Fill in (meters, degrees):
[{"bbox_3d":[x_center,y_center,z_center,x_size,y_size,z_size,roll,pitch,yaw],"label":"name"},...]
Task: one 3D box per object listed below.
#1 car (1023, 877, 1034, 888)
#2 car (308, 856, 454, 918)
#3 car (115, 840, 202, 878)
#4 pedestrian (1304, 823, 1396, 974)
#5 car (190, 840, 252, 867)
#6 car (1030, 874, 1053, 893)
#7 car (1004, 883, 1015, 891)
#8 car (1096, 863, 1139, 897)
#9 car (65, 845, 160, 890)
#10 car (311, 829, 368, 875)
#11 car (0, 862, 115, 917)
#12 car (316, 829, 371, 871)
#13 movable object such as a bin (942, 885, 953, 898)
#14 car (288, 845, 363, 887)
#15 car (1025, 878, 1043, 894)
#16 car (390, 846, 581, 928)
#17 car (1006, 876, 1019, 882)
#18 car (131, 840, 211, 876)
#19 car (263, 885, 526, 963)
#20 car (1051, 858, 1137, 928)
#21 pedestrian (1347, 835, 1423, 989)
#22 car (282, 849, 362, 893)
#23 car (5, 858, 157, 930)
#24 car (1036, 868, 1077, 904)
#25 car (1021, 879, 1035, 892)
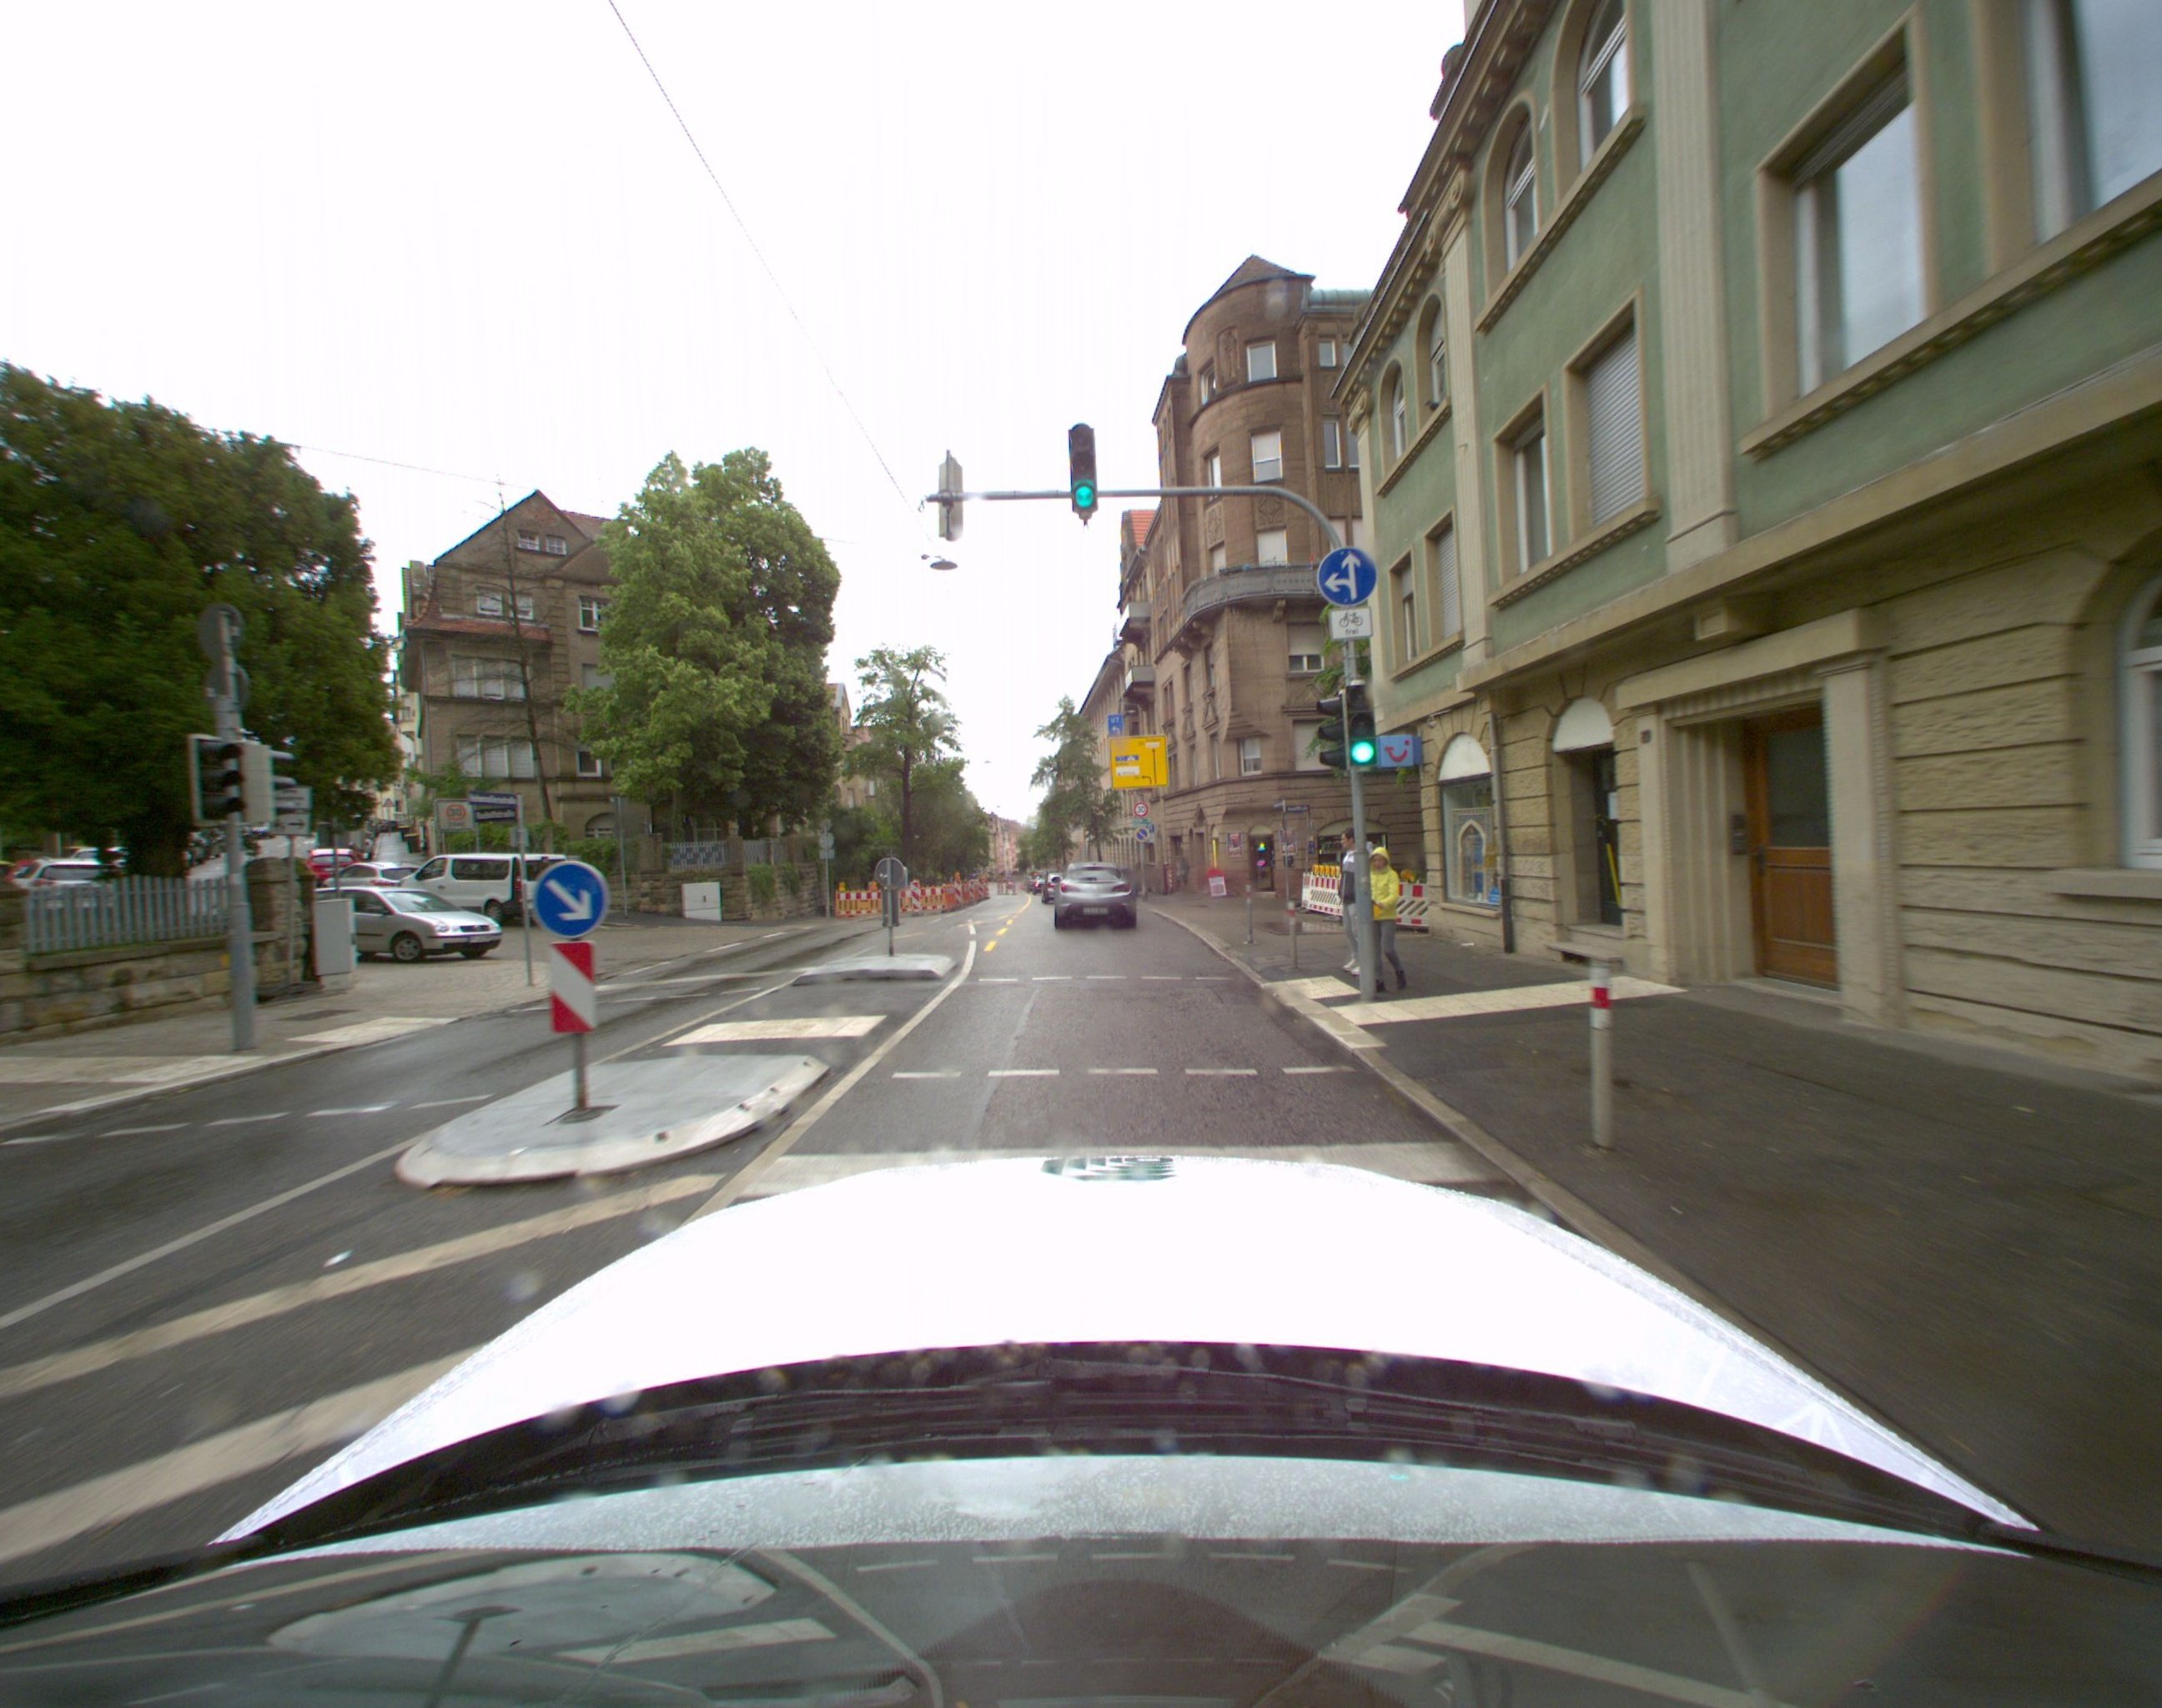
[{"bbox_3d":[-9.463,5.145,146.903,1.713,1.782,3.657,-6,-2,-6],"label":"car"},{"bbox_3d":[-22.429,0.986,26.083,4.388,1.513,2.127,4,3,29],"label":"car"},{"bbox_3d":[-39.907,0.187,35.318,1.859,1.458,4.110,3,-1,-41],"label":"car"},{"bbox_3d":[3.347,0.539,10.143,0.669,1.774,0.711,-4,0,-40],"label":"pedestrian"},{"bbox_3d":[-53.366,0.006,50.619,2.124,1.409,4.390,3,-4,-41],"label":"car"},{"bbox_3d":[-3.513,2.625,72.116,1.655,1.543,3.655,-5,-2,-7],"label":"car"},{"bbox_3d":[-14.134,6.478,161.859,1.992,1.501,3.989,-3,-2,-7],"label":"car"},{"bbox_3d":[1.842,1.374,42.320,1.654,1.543,3.658,-5,-2,-5],"label":"car"},{"bbox_3d":[-36.521,0.482,30.819,1.761,1.507,4.108,4,-1,-43],"label":"car"},{"bbox_3d":[-35.875,-0.095,39.495,1.805,2.041,3.890,4,-2,-41],"label":"car"},{"bbox_3d":[-29.942,1.043,23.833,3.785,1.475,1.932,-1,-4,38],"label":"car"},{"bbox_3d":[-38.633,-0.188,42.769,1.932,2.012,4.390,3,-2,-41],"label":"car"},{"bbox_3d":[-13.226,3.694,80.800,0.943,1.214,0.855,-1,-2,-4],"label":"movable object such as a bin"},{"bbox_3d":[-32.539,0.527,35.198,2.124,1.628,4.390,4,-3,-41],"label":"car"},{"bbox_3d":[-5.032,3.429,86.912,1.654,1.543,3.658,-5,-2,-5],"label":"car"},{"bbox_3d":[-17.438,0.893,23.912,4.628,2.048,2.034,3,1,16],"label":"car"},{"bbox_3d":[-20.550,7.476,243.685,3.981,1.750,1.996,0,-3,-6],"label":"car"},{"bbox_3d":[-43.456,0.170,38.999,1.930,1.511,4.199,3,0,-41],"label":"car"},{"bbox_3d":[-13.745,1.374,16.458,3.842,1.409,1.829,0,-3,6],"label":"car"},{"bbox_3d":[0.288,0.883,19.334,1.805,1.450,3.868,-2,-2,0],"label":"car"},{"bbox_3d":[3.284,0.605,8.851,0.592,1.584,0.668,-5,0,15],"label":"pedestrian"},{"bbox_3d":[-29.081,0.625,31.195,2.045,1.535,4.389,4,-3,-44],"label":"car"},{"bbox_3d":[-25.918,1.020,21.087,4.104,1.675,1.932,-1,-4,32],"label":"car"},{"bbox_3d":[-1.159,1.455,37.558,1.768,1.504,3.865,-2,-2,-3],"label":"car"},{"bbox_3d":[-6.902,4.155,106.268,1.654,1.543,3.658,-5,-2,-5],"label":"car"}]
